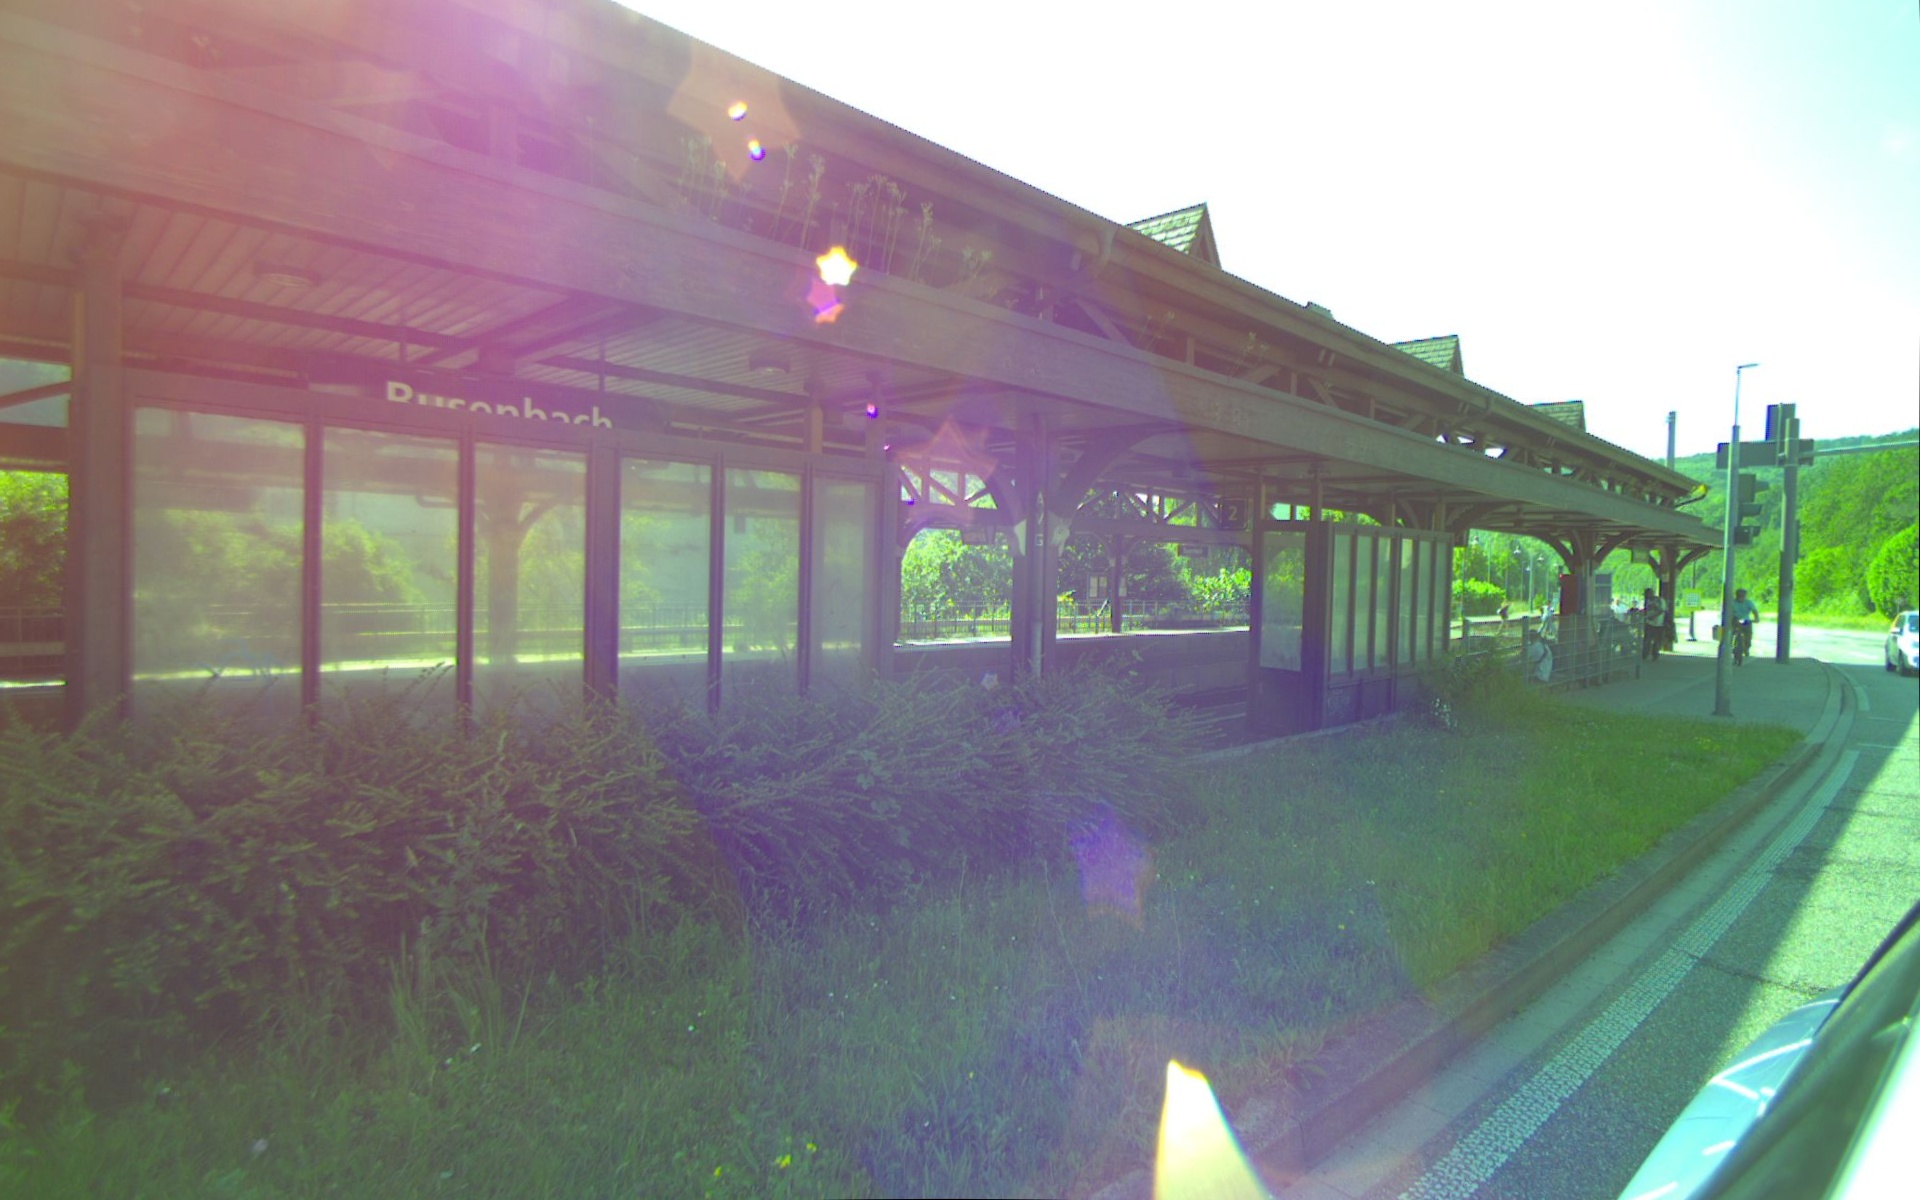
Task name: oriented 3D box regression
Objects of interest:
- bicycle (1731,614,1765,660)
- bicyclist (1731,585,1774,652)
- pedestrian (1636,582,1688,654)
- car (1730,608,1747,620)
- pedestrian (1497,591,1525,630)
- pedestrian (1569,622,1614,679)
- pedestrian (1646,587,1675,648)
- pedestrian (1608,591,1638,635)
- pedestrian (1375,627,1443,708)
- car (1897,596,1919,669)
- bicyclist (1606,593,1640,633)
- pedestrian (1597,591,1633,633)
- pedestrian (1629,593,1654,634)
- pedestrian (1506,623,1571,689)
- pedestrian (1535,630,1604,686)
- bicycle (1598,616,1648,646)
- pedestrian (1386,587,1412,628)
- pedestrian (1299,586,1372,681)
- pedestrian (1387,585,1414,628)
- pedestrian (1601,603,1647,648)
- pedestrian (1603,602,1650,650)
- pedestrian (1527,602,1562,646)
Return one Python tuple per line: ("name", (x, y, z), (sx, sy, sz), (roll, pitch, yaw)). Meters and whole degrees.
("bicycle", (19.141, 0.877, 24.602), (0.600, 1.069, 1.789), (-1, -1, 37))
("bicyclist", (19.191, 0.441, 24.531), (0.783, 1.589, 0.934), (-1, -1, 38))
("pedestrian", (17.824, 0.466, 25.681), (0.913, 1.759, 1.232), (-1, -2, 42))
("car", (119.856, 2.162, 155.794), (1.990, 1.772, 3.942), (-1, -2, 40))
("pedestrian", (24.333, 0.461, 44.692), (0.899, 1.706, 1.108), (-1, -2, 39))
("pedestrian", (11.242, 0.890, 18.028), (0.616, 0.978, 0.400), (-1, -2, 42))
("pedestrian", (20.151, 0.489, 29.107), (0.655, 1.713, 0.730), (1, 1, 35))
("pedestrian", (26.296, 0.531, 40.152), (0.813, 1.706, 0.896), (0, -2, 24))
("pedestrian", (6.512, 0.958, 14.686), (0.741, 1.131, 0.657), (-1, -2, 42))
("car", (22.968, 0.710, 23.226), (1.991, 1.605, 3.940), (-1, -1, 41))
("bicyclist", (28.593, 0.568, 43.668), (0.806, 1.706, 0.904), (1, -2, -5))
("pedestrian", (26.730, 0.490, 41.317), (0.805, 1.706, 0.905), (1, -2, -20))
("pedestrian", (28.035, 0.556, 41.630), (0.674, 1.706, 0.557), (0, -2, 16))
("pedestrian", (9.111, 0.865, 15.944), (0.741, 0.995, 0.757), (-1, -2, 42))
("pedestrian", (10.130, 0.945, 16.816), (0.844, 0.885, 0.795), (-1, -2, 42))
("bicycle", (28.591, 1.327, 43.701), (0.696, 1.224, 2.021), (1, -1, -5))
("pedestrian", (20.338, 0.366, 46.876), (0.899, 1.873, 0.811), (-1, -2, 38))
("pedestrian", (6.501, 0.569, 17.520), (0.860, 1.567, 0.908), (1, -1, 43))
("pedestrian", (19.444, 0.310, 44.643), (0.899, 1.873, 0.811), (-1, -2, 38))
("pedestrian", (18.046, 0.676, 27.494), (1.003, 1.174, 0.937), (1, 0, 35))
("pedestrian", (17.411, 0.676, 26.447), (0.988, 1.251, 0.589), (-1, -2, 36))
("pedestrian", (25.200, 1.031, 43.604), (1.054, 1.867, 0.989), (3, -2, -39))
